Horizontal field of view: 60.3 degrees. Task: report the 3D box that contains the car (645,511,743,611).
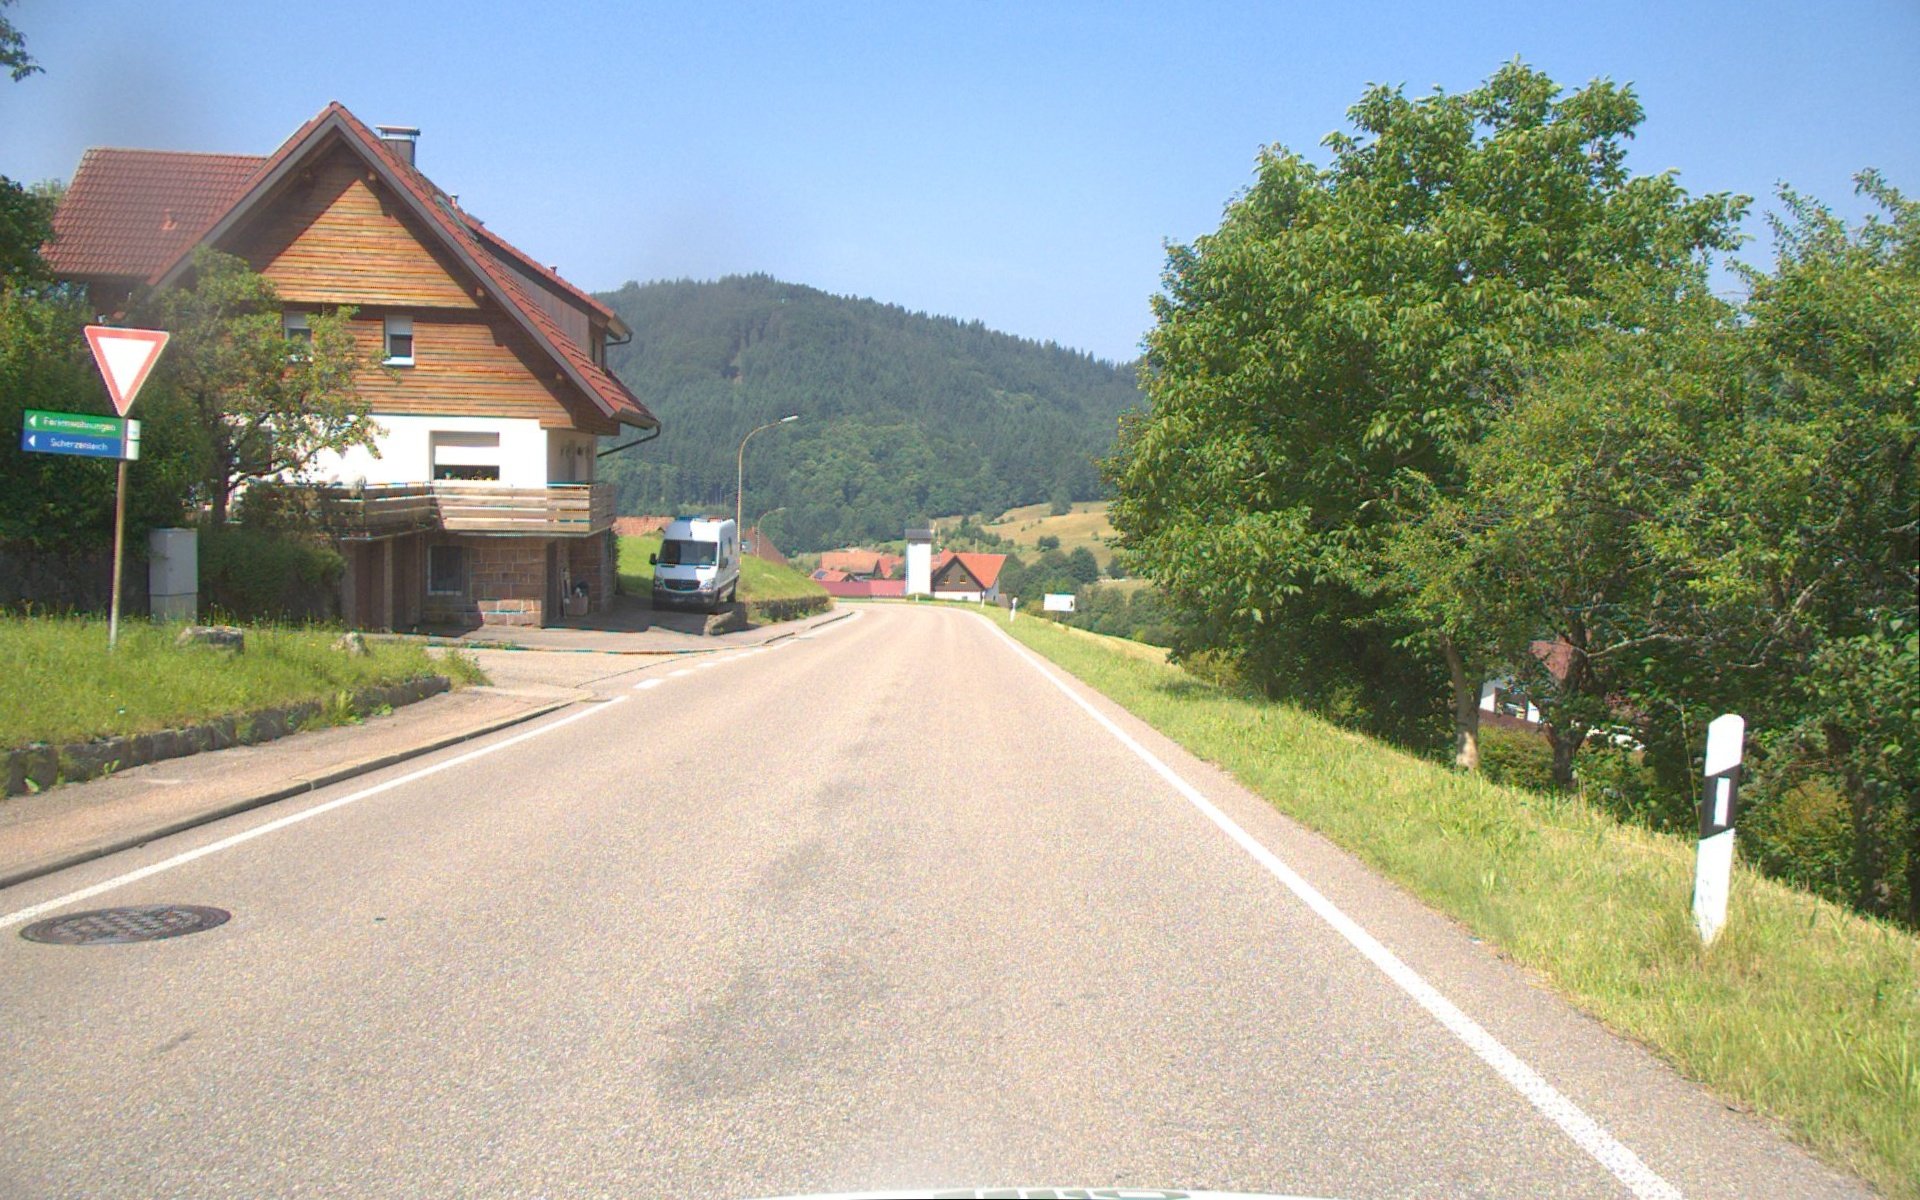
[{"bbox_3d":[-8.140,-1.311,51.274,2.025,2.734,7.175,1,4,-2],"label":"car"}]
